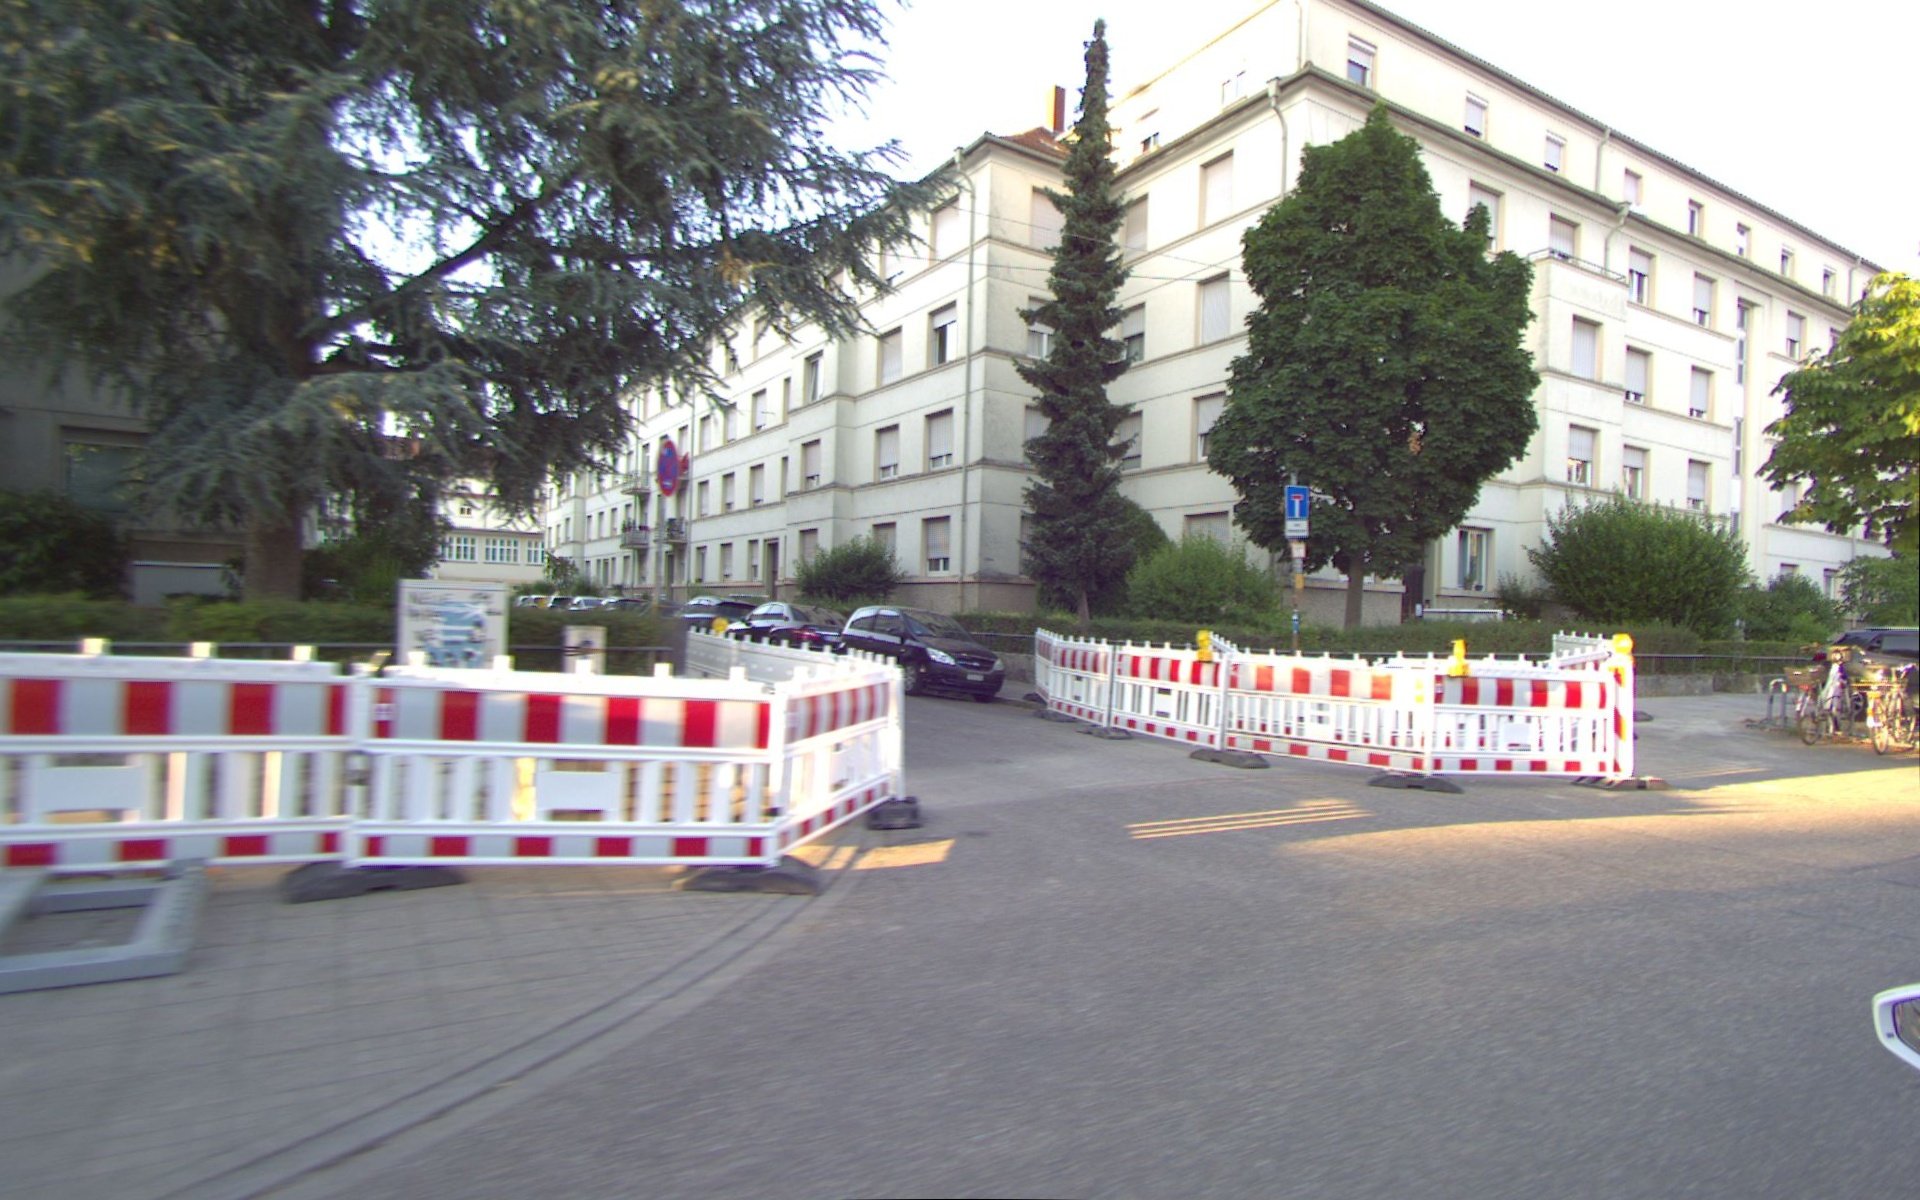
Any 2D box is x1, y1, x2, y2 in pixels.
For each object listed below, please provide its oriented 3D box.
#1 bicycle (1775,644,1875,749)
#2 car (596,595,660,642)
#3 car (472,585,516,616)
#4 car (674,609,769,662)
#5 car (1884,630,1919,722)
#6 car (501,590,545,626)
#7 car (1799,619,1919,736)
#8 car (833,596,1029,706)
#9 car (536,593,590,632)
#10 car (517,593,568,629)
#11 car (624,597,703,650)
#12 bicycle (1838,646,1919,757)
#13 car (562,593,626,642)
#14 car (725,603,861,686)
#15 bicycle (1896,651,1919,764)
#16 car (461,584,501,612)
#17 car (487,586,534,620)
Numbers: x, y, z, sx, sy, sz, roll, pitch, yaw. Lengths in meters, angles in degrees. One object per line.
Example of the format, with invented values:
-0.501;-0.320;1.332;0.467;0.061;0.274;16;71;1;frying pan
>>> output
11.087;1.194;12.854;1.965;1.244;0.403;1;1;-33;bicycle
-11.404;0.615;34.419;1.336;1.483;3.155;1;0;-33;car
-29.176;0.022;62.834;1.979;1.802;3.644;1;0;-33;car
-6.185;0.878;25.845;1.421;1.196;3.089;1;0;-33;car
17.526;1.324;15.830;1.977;1.500;3.966;1;0;-31;car
-22.580;0.398;51.848;1.556;1.703;3.367;1;0;-33;car
15.066;1.177;14.611;1.977;1.647;3.966;1;0;-31;car
-0.608;0.794;17.378;1.743;1.611;3.684;1;1;-33;car
-17.222;0.526;43.532;1.539;1.554;3.366;1;0;-33;car
-19.677;0.509;47.267;1.603;1.549;3.433;1;0;-33;car
-9.089;0.701;30.681;1.462;1.478;3.148;1;0;-33;car
11.360;1.199;12.258;1.965;1.244;0.403;1;1;-33;bicycle
-14.093;0.631;38.590;1.552;1.748;3.453;1;0;-33;car
-3.610;0.880;21.257;1.578;1.526;3.477;1;0;-33;car
11.579;1.231;11.760;1.965;1.244;0.403;1;1;-33;bicycle
-32.172;-0.169;67.462;1.979;1.782;3.644;1;0;-33;car
-26.046;0.152;58.164;1.979;1.802;3.644;1;0;-33;car
